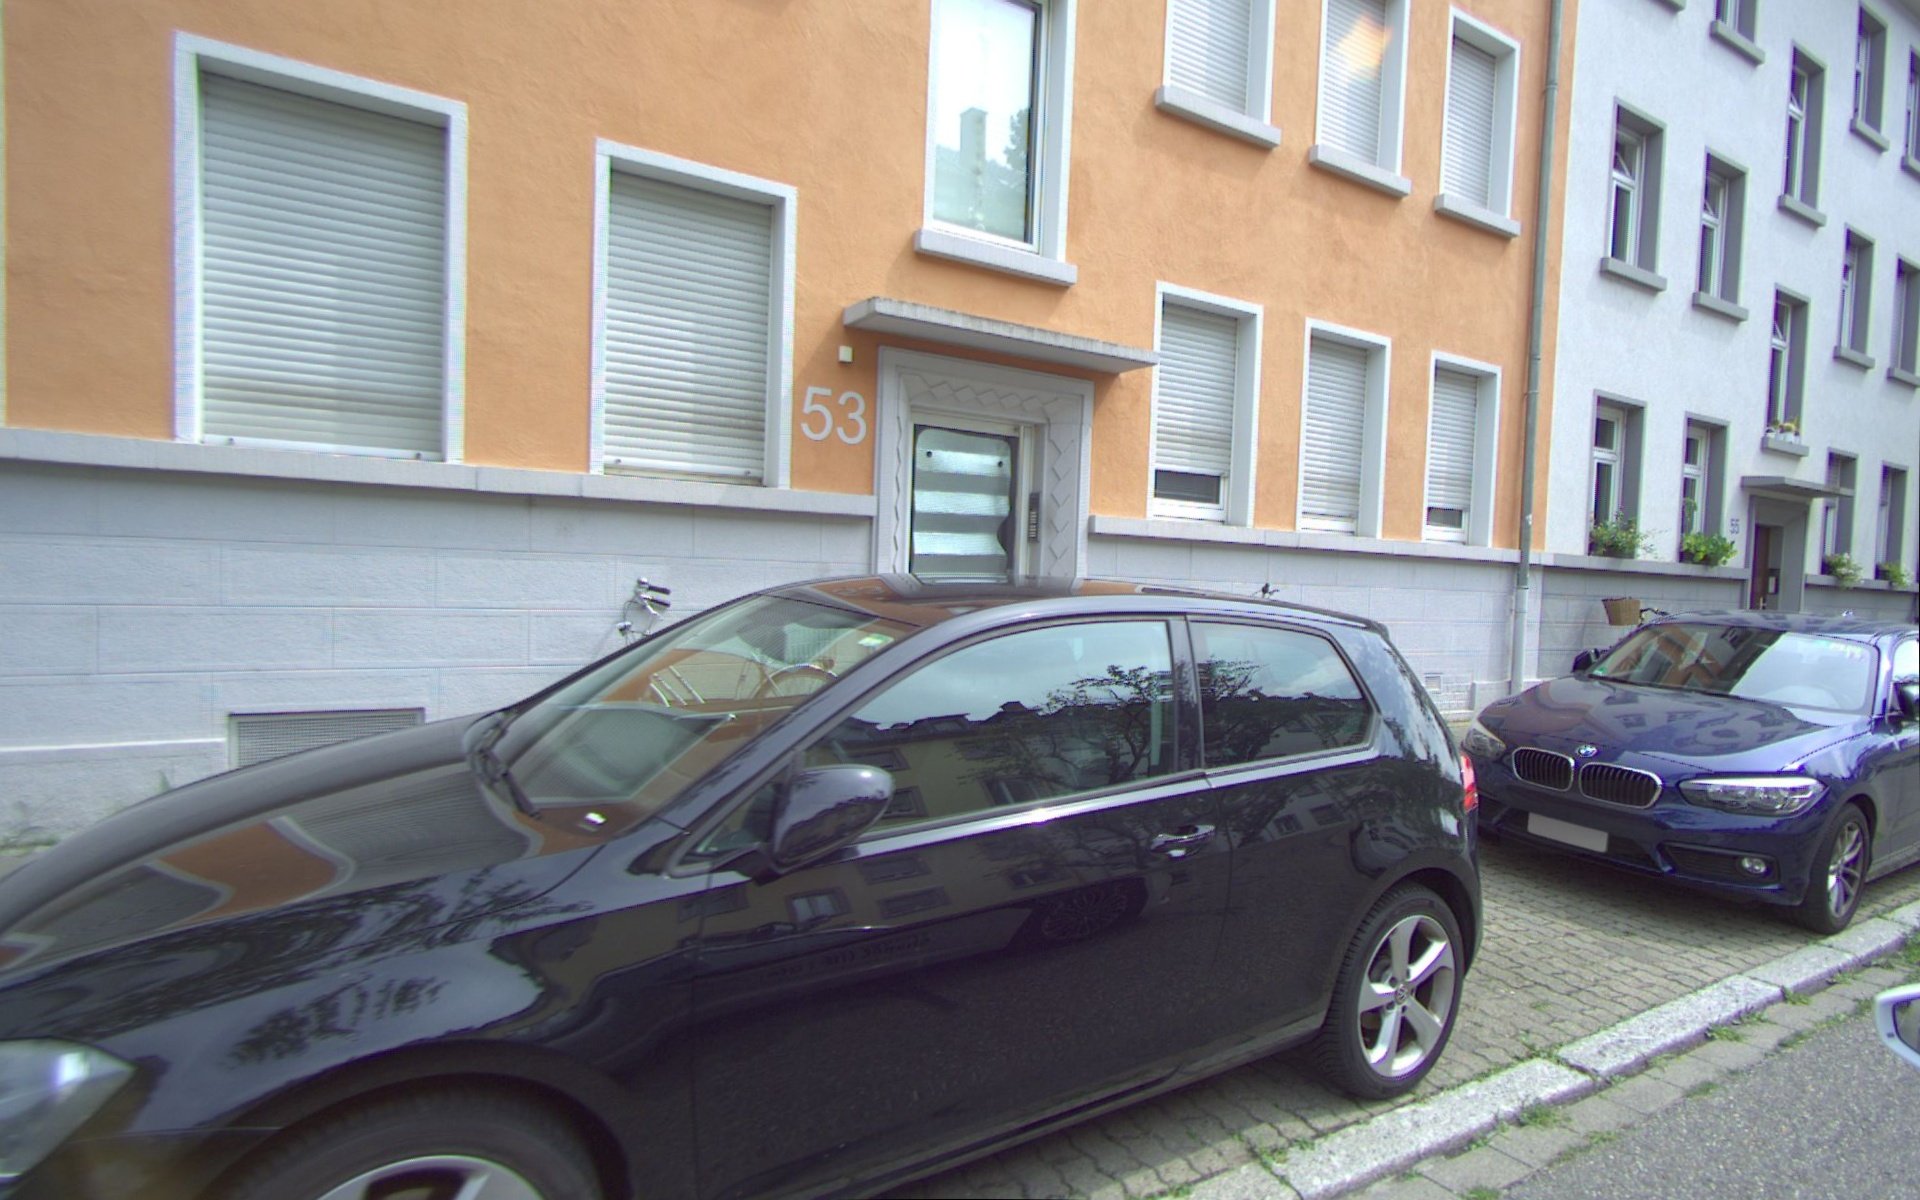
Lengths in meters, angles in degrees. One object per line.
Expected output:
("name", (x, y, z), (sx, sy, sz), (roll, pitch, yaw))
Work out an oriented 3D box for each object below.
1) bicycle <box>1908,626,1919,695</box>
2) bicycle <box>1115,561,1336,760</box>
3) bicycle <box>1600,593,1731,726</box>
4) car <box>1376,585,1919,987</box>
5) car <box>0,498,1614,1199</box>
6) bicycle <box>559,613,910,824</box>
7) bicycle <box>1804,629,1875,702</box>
("bicycle", (15.072, 0.929, 15.392), (1.417, 1.020, 0.418), (2, 0, -30))
("bicycle", (1.995, 0.432, 7.433), (1.790, 1.352, 0.427), (2, 0, -30))
("bicycle", (7.611, 0.625, 10.811), (1.790, 1.352, 0.427), (2, 0, -30))
("car", (4.550, 0.792, 5.921), (4.077, 1.504, 1.825), (2, 4, -33))
("car", (-0.119, 0.624, 2.891), (4.050, 1.504, 1.825), (2, 3, -33))
("bicycle", (-1.180, 0.598, 5.507), (1.847, 1.019, 0.365), (2, 0, -32))
("bicycle", (12.396, 0.912, 14.146), (1.417, 0.979, 0.308), (2, 0, -31))
